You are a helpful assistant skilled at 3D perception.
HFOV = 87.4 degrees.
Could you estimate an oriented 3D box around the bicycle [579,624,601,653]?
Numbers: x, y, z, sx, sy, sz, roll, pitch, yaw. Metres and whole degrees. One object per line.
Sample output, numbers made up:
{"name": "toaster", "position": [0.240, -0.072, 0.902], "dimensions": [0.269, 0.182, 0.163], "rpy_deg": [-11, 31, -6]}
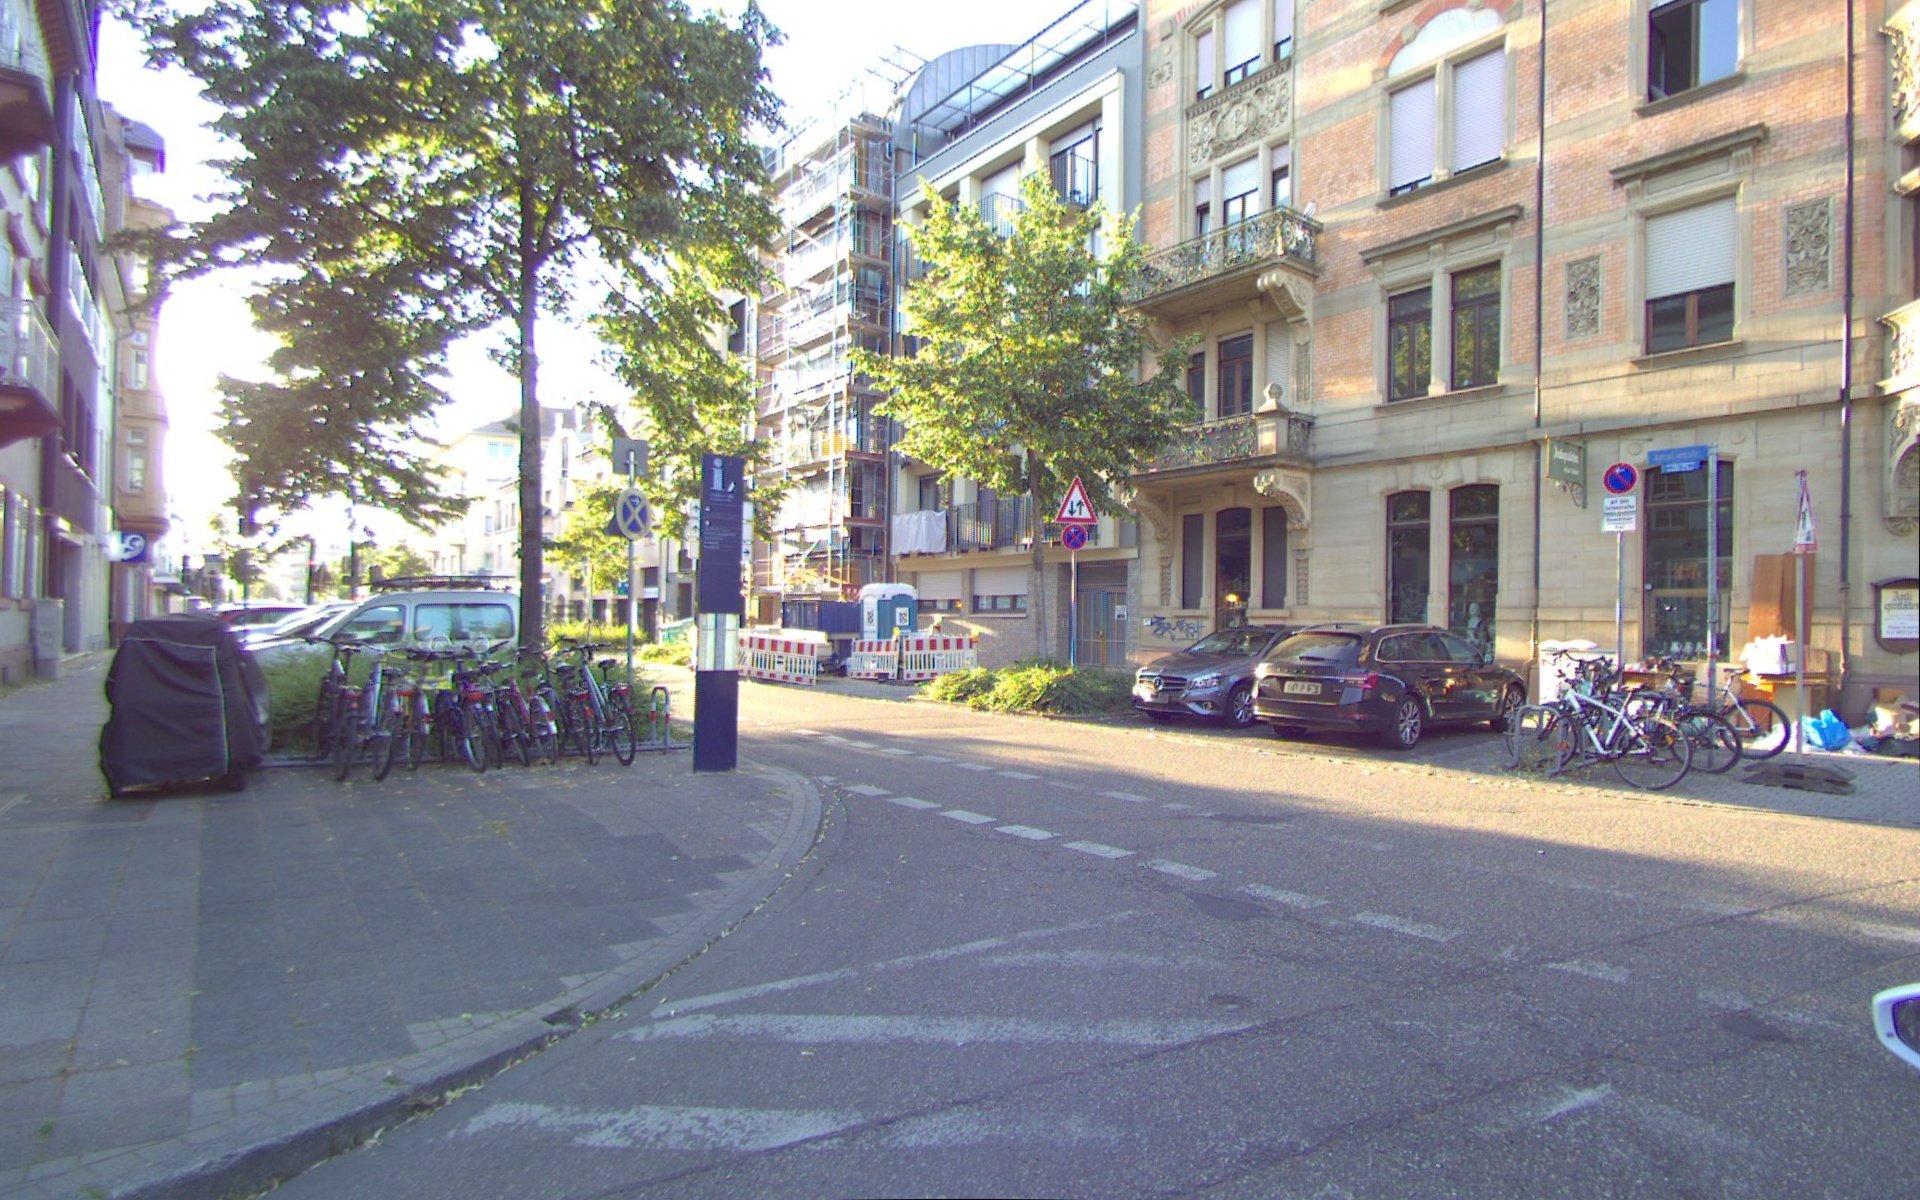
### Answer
{"name": "bicycle", "position": [-16.154, 1.667, 43.843], "dimensions": [0.380, 1.205, 1.505], "rpy_deg": [3, -3, -40]}

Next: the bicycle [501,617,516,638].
{"name": "bicycle", "position": [-27.787, 1.686, 61.757], "dimensions": [0.395, 1.251, 1.805], "rpy_deg": [1, -1, -39]}

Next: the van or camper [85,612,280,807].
{"name": "van or camper", "position": [-5.800, 0.754, 7.621], "dimensions": [0.934, 1.276, 1.829], "rpy_deg": [3, -2, -32]}

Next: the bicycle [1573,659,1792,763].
{"name": "bicycle", "position": [8.564, 1.274, 12.013], "dimensions": [0.461, 1.054, 2.087], "rpy_deg": [1, -1, -38]}

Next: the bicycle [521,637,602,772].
{"name": "bicycle", "position": [-3.830, 0.956, 9.596], "dimensions": [0.328, 1.155, 1.581], "rpy_deg": [4, -3, -34]}

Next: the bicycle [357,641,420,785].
{"name": "bicycle", "position": [-4.906, 0.914, 8.589], "dimensions": [0.320, 1.096, 1.581], "rpy_deg": [2, -2, -34]}

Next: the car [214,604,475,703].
{"name": "car", "position": [-10.396, 0.880, 17.189], "dimensions": [3.621, 1.535, 1.634], "rpy_deg": [2, -1, -32]}

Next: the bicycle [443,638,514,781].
{"name": "bicycle", "position": [-4.366, 0.935, 9.070], "dimensions": [0.310, 1.163, 1.597], "rpy_deg": [2, -2, -34]}

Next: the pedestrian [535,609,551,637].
{"name": "pedestrian", "position": [-25.608, 1.418, 61.676], "dimensions": [0.805, 1.668, 0.600], "rpy_deg": [0, -1, -38]}

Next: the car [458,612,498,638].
{"name": "car", "position": [-29.526, 1.508, 61.458], "dimensions": [1.624, 1.574, 2.664], "rpy_deg": [1, -1, -39]}

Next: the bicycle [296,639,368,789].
{"name": "bicycle", "position": [-5.256, 0.898, 8.378], "dimensions": [0.392, 1.096, 1.581], "rpy_deg": [4, -3, -34]}

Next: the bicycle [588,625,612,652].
{"name": "bicycle", "position": [-15.404, 1.646, 42.923], "dimensions": [0.380, 1.115, 1.503], "rpy_deg": [2, -1, -43]}

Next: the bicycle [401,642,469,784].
{"name": "bicycle", "position": [-4.619, 0.937, 8.801], "dimensions": [0.338, 1.096, 1.581], "rpy_deg": [1, -1, -34]}

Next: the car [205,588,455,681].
{"name": "car", "position": [-11.851, 0.697, 19.070], "dimensions": [3.799, 1.606, 1.725], "rpy_deg": [3, -3, -35]}

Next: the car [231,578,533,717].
{"name": "car", "position": [-8.700, 0.705, 15.311], "dimensions": [3.783, 1.874, 1.684], "rpy_deg": [2, -2, -34]}

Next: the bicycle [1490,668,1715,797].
{"name": "bicycle", "position": [6.317, 1.259, 9.977], "dimensions": [0.565, 1.061, 1.815], "rpy_deg": [1, -1, -34]}

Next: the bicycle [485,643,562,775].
{"name": "bicycle", "position": [-4.100, 0.972, 9.380], "dimensions": [0.317, 1.096, 1.581], "rpy_deg": [4, -3, -34]}

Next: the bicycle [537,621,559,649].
{"name": "bicycle", "position": [-16.880, 1.439, 41.134], "dimensions": [0.380, 1.115, 1.505], "rpy_deg": [2, -1, -40]}

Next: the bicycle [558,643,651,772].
{"name": "bicycle", "position": [-3.501, 1.006, 9.823], "dimensions": [0.392, 1.122, 1.696], "rpy_deg": [4, -3, -34]}

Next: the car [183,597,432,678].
{"name": "car", "position": [-13.590, 0.775, 21.062], "dimensions": [4.188, 1.536, 1.741], "rpy_deg": [2, -2, -41]}

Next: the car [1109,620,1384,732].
{"name": "car", "position": [4.577, 1.079, 15.742], "dimensions": [4.500, 1.499, 1.848], "rpy_deg": [1, -1, -38]}

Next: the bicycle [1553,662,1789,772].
{"name": "bicycle", "position": [7.974, 1.267, 11.365], "dimensions": [0.634, 1.027, 2.087], "rpy_deg": [1, -1, -38]}

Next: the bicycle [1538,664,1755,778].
{"name": "bicycle", "position": [7.300, 1.246, 10.763], "dimensions": [0.634, 1.027, 1.812], "rpy_deg": [1, -1, -38]}

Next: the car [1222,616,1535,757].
{"name": "car", "position": [5.683, 1.011, 13.410], "dimensions": [4.499, 1.531, 1.891], "rpy_deg": [0, 0, -38]}

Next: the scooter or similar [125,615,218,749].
{"name": "scooter or similar", "position": [-7.878, 0.777, 10.082], "dimensions": [0.672, 1.238, 1.380], "rpy_deg": [1, -1, -36]}
